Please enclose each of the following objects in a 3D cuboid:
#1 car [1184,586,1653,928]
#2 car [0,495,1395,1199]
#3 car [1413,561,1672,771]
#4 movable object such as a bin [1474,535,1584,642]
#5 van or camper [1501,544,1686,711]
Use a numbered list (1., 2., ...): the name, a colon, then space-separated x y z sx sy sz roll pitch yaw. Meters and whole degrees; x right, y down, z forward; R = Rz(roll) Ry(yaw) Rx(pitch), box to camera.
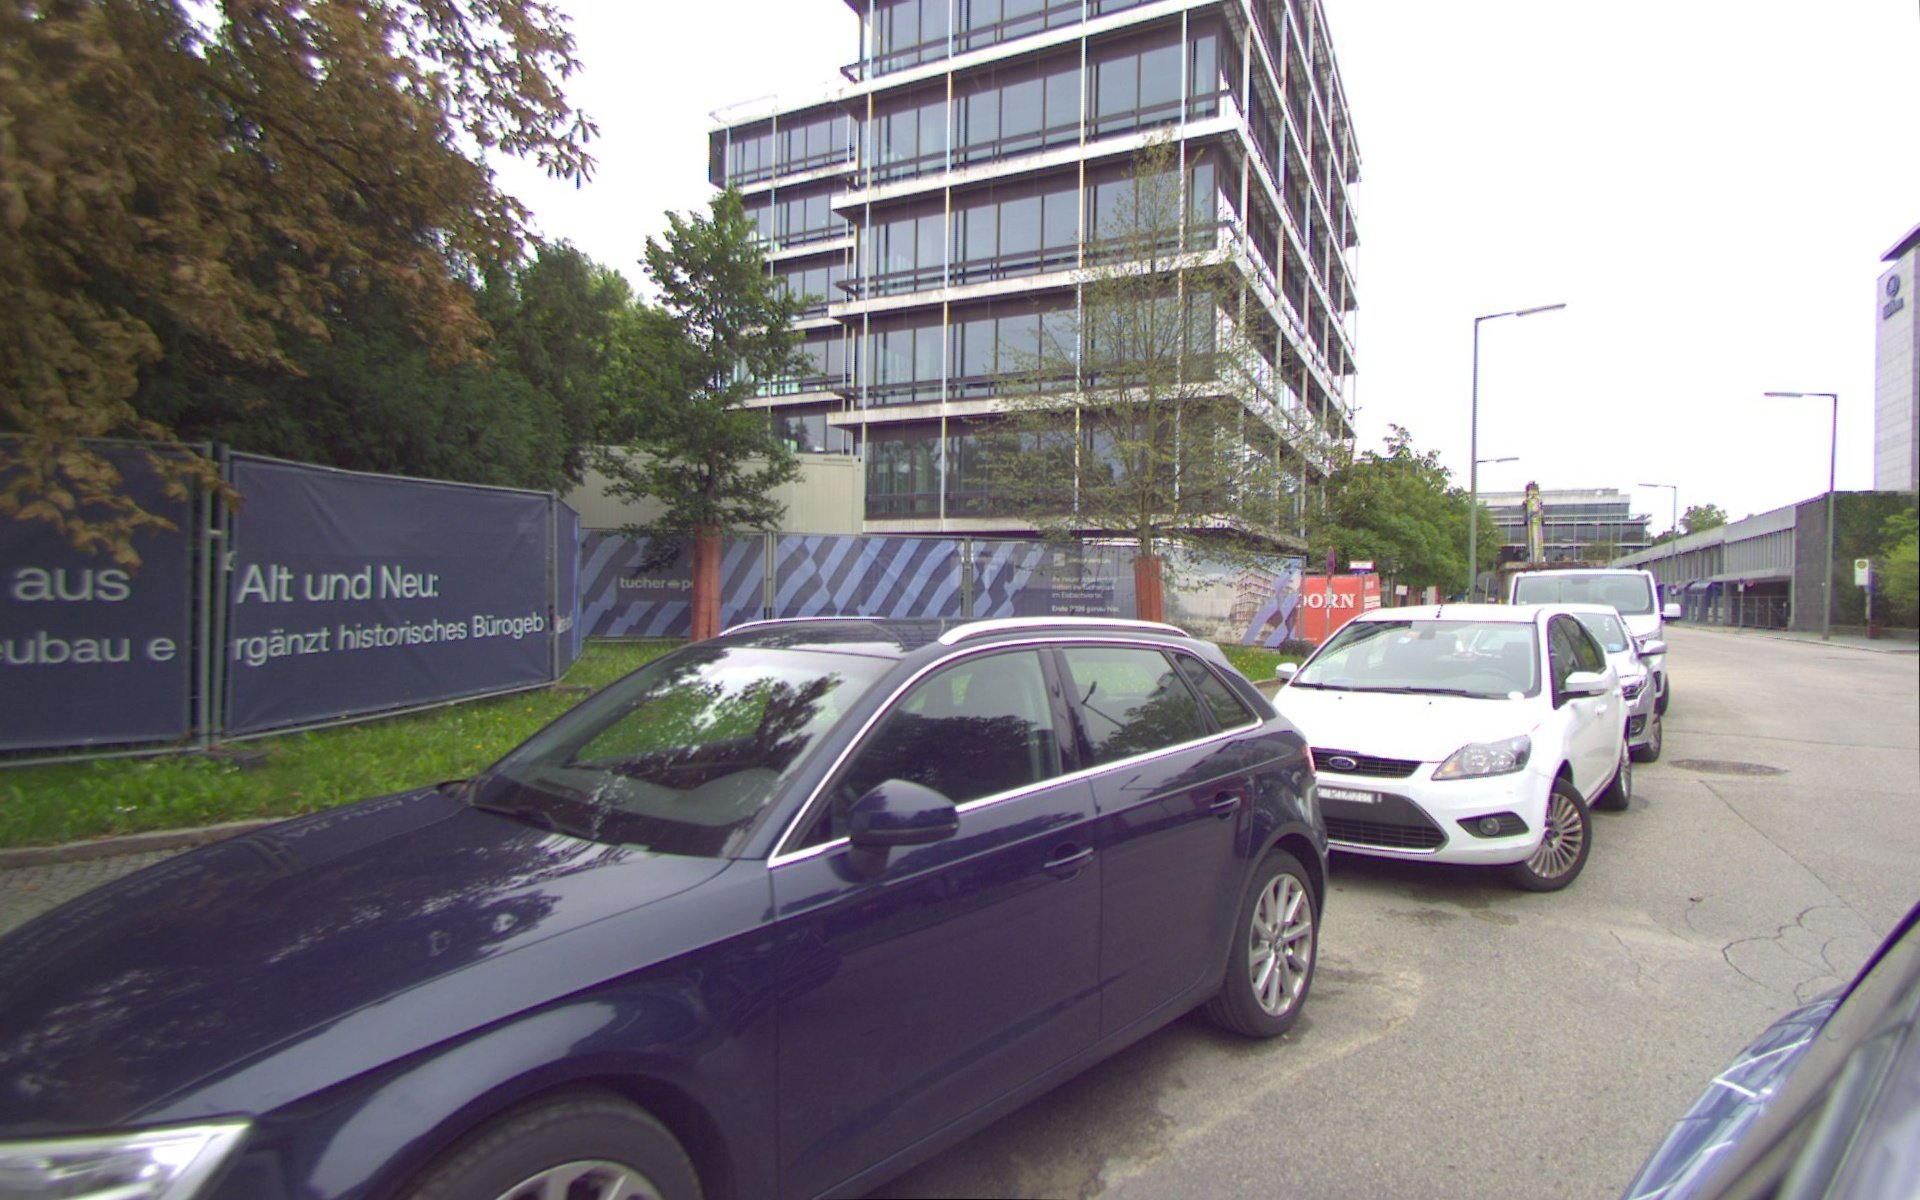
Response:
1. car: 3.260 0.684 6.679 1.764 1.504 4.159 1 1 40
2. car: -0.438 0.584 3.153 1.873 1.455 4.259 2 1 44
3. car: 6.342 0.508 10.829 1.987 1.749 4.395 1 1 34
4. movable object such as a bin: 22.502 -0.488 40.496 3.219 3.763 8.928 1 1 26
5. van or camper: 9.481 0.290 15.179 1.985 2.039 5.314 1 1 33
